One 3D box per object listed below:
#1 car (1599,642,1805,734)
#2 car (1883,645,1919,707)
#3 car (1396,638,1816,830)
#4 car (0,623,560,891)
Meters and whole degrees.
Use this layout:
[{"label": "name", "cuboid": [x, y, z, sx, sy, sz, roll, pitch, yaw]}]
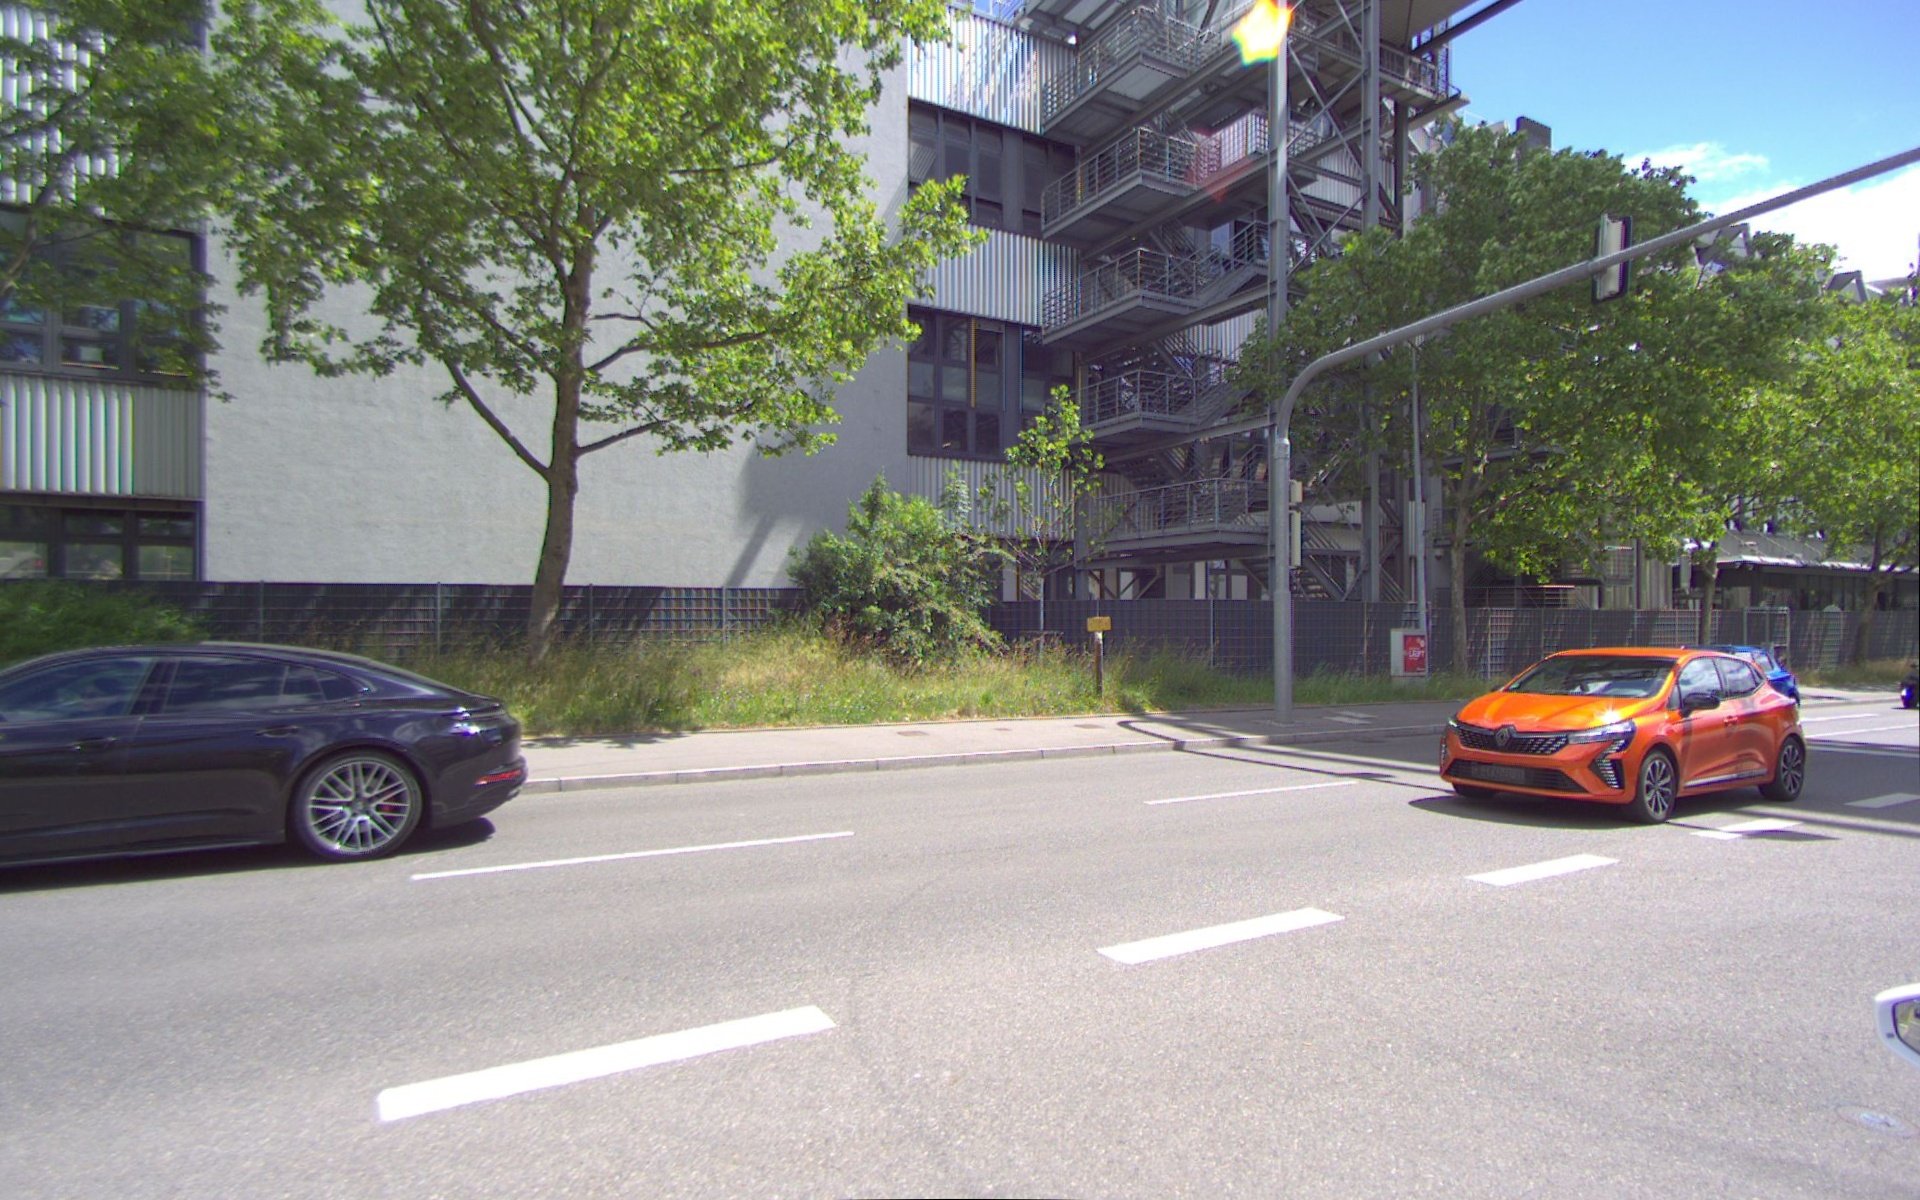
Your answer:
[{"label": "car", "cuboid": [13.317, 1.491, 17.987, 3.779, 1.448, 1.684, 1, -2, -32]}, {"label": "car", "cuboid": [24.248, 1.830, 24.469, 3.875, 1.447, 1.569, 2, -3, -31]}, {"label": "car", "cuboid": [6.187, 1.132, 9.568, 3.859, 1.473, 1.875, 2, -3, -31]}, {"label": "car", "cuboid": [-5.351, 0.924, 6.701, 4.716, 1.473, 1.983, 2, -3, -32]}]
